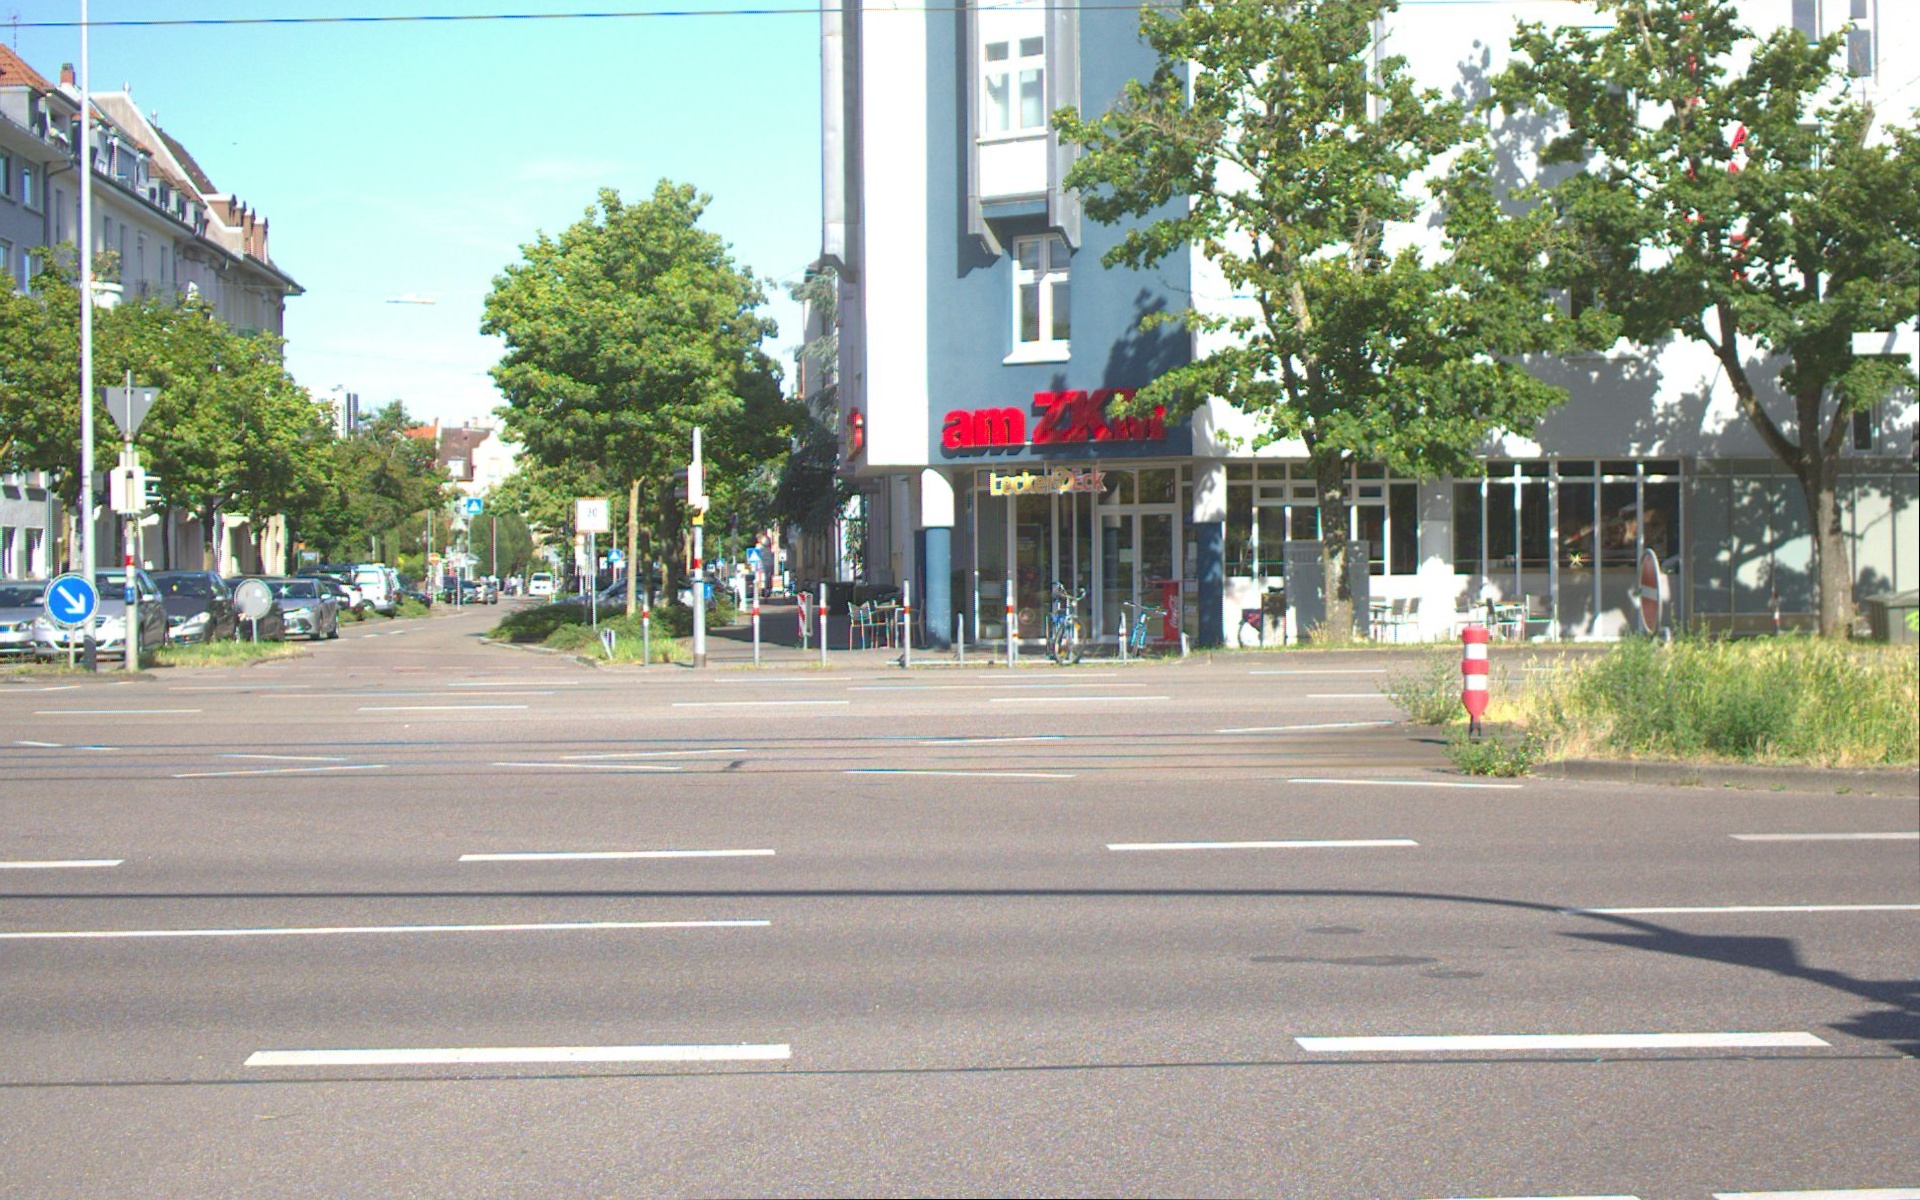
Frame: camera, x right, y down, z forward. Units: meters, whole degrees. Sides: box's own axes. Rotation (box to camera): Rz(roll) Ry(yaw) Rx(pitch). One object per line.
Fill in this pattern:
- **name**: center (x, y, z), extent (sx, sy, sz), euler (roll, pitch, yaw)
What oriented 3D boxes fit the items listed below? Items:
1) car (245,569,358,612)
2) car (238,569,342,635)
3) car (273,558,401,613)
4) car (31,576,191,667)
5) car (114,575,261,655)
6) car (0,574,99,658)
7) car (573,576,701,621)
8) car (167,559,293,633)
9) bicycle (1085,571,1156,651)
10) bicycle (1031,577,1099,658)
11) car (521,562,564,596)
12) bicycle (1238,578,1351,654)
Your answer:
- **car**: center (-22.327, -0.323, 116.660), extent (3.566, 1.411, 1.928), euler (0, -1, -6)
- **car**: center (-15.576, 0.039, 80.106), extent (1.688, 1.427, 4.400), euler (2, 0, -2)
- **car**: center (-23.133, -0.524, 127.727), extent (4.504, 2.007, 2.000), euler (0, -1, -6)
- **car**: center (-14.447, 0.348, 58.732), extent (1.688, 1.427, 4.400), euler (2, 0, -1)
- **car**: center (-14.621, 0.274, 65.267), extent (1.688, 1.427, 4.399), euler (2, 0, 1)
- **car**: center (-16.836, 0.262, 61.675), extent (1.688, 1.427, 4.400), euler (2, 0, -1)
- **car**: center (-9.145, -0.037, 97.346), extent (3.566, 1.219, 1.731), euler (0, -1, -6)
- **car**: center (-15.072, -0.084, 71.191), extent (1.688, 1.427, 4.400), euler (2, 0, -1)
- **bicycle**: center (2.104, 0.140, 45.176), extent (0.471, 1.024, 1.516), euler (-1, 1, -15)
- **bicycle**: center (1.360, 0.218, 44.622), extent (0.471, 1.024, 1.516), euler (-1, 1, -14)
- **car**: center (-22.507, -1.115, 185.516), extent (1.993, 1.750, 4.520), euler (0, -1, -3)
- **bicycle**: center (4.580, 0.216, 47.032), extent (1.511, 1.024, 0.473), euler (-1, 0, 8)
